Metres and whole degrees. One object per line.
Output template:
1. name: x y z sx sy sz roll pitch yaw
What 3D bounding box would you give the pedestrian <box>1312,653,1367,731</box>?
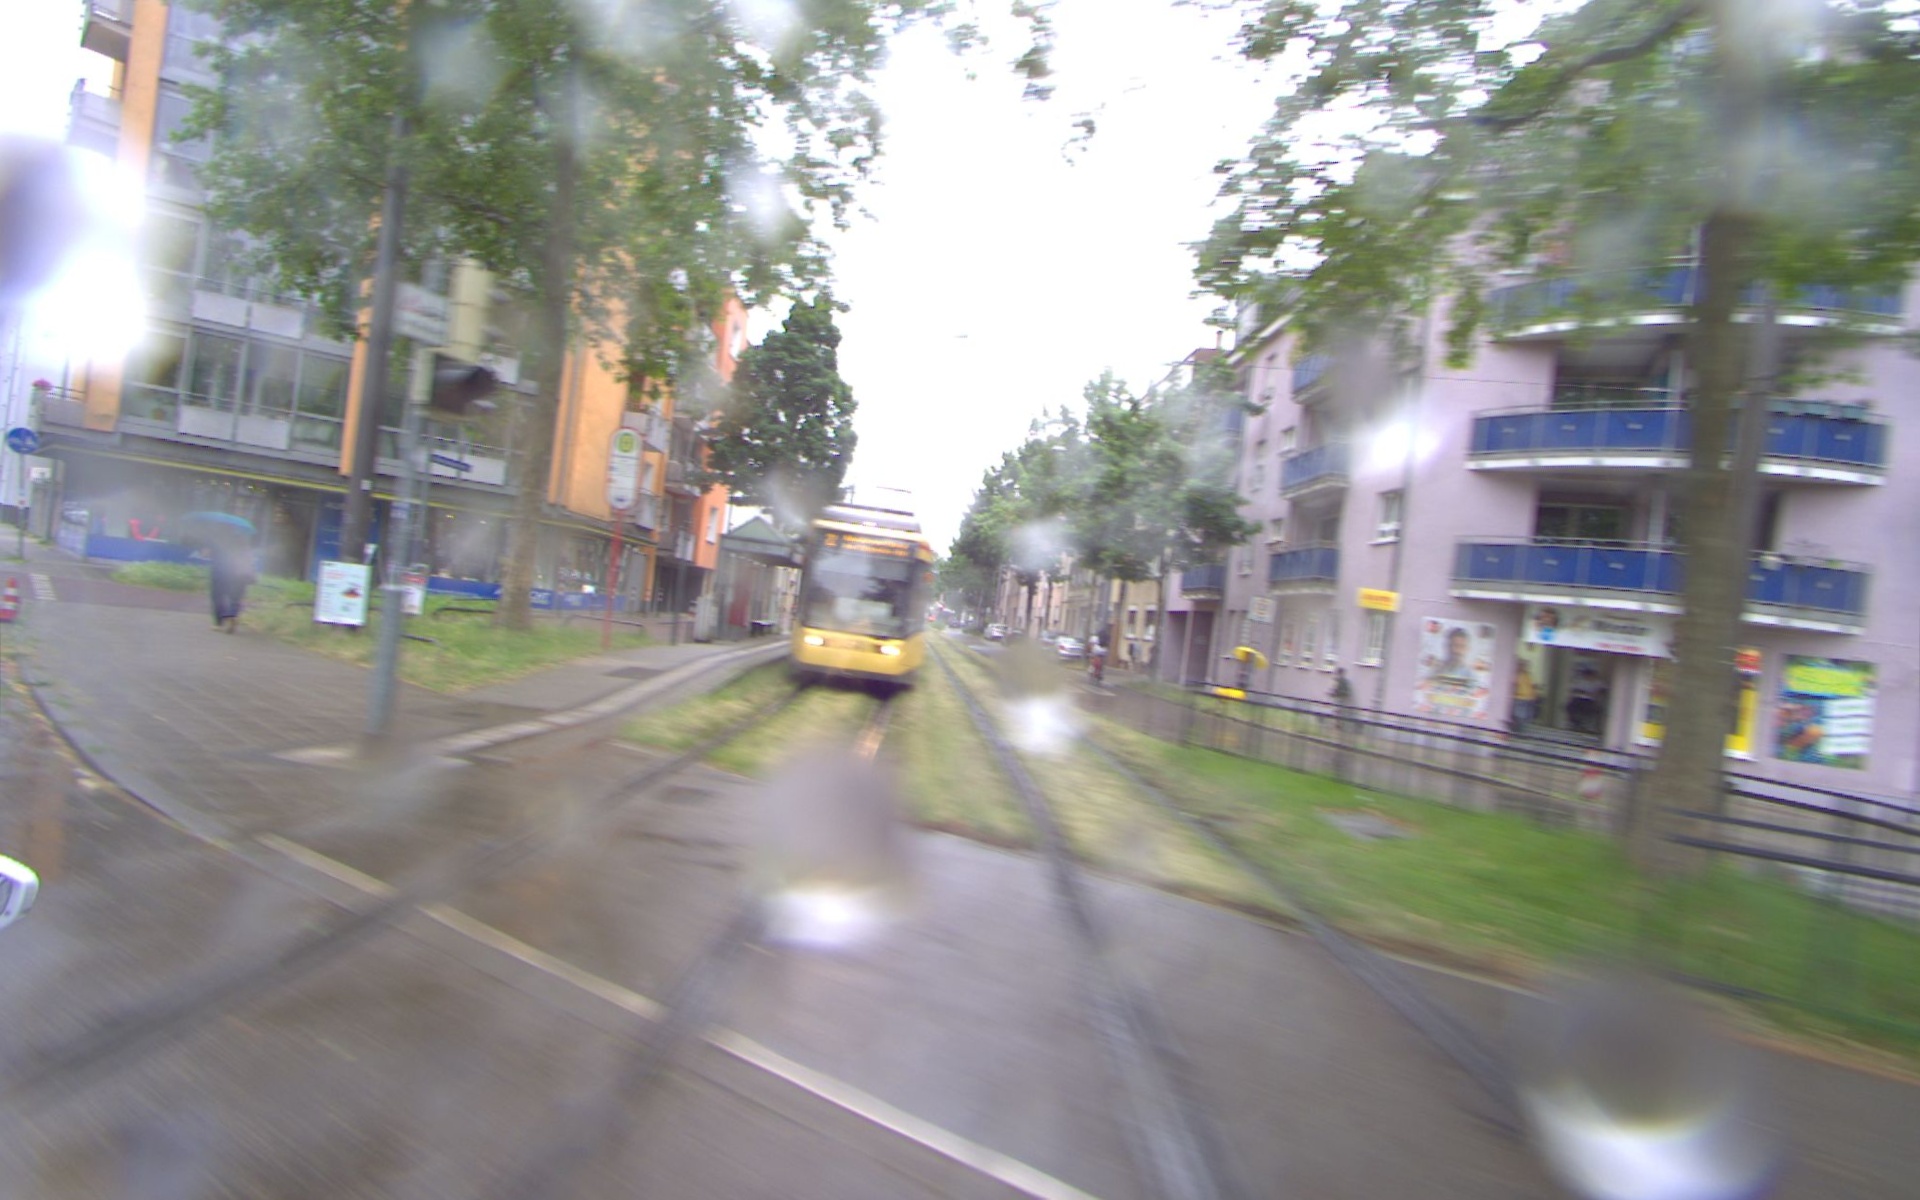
1. pedestrian: 9.065 2.198 24.044 0.809 1.718 0.683 7 1 -8

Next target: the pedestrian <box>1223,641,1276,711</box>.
1. pedestrian: 7.811 2.030 27.186 0.939 1.718 0.920 7 0 -4

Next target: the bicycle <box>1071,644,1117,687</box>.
1. bicycle: 4.424 2.145 33.393 0.741 1.187 2.036 7 0 -13

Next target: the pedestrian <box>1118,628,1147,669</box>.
1. pedestrian: 7.857 2.189 45.799 0.905 1.718 0.955 7 0 -4

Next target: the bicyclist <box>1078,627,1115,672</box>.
1. bicyclist: 4.509 1.628 33.361 0.731 1.326 1.073 7 1 -15

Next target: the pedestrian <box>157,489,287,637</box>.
1. pedestrian: -10.491 -0.527 14.288 1.167 1.888 1.368 7 0 -44

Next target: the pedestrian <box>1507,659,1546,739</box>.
1. pedestrian: 12.080 2.096 21.457 0.464 1.621 0.594 7 0 22

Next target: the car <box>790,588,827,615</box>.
1. car: -9.411 0.081 62.828 1.771 1.415 3.998 7 -1 -3

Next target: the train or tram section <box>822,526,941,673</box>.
1. train or tram section: -2.186 0.062 29.652 2.598 3.390 8.375 8 -1 -3

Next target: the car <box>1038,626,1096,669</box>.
1. car: 5.153 2.253 48.934 1.964 1.693 3.998 7 -1 -4

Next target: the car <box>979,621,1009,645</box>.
1. car: 2.833 2.753 84.362 1.964 1.693 3.998 7 -1 -4

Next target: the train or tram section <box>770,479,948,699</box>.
1. train or tram section: -1.845 -0.095 21.288 2.598 3.409 8.376 8 -1 -2

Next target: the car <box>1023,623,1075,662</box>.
1. car: 4.735 2.231 53.848 1.964 1.693 3.998 7 -1 -4

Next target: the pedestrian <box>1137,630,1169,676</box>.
1. pedestrian: 7.871 2.152 41.043 0.905 1.718 0.955 7 0 -3

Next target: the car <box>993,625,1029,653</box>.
1. car: 3.648 2.783 72.627 1.964 1.693 3.998 7 -1 -4
